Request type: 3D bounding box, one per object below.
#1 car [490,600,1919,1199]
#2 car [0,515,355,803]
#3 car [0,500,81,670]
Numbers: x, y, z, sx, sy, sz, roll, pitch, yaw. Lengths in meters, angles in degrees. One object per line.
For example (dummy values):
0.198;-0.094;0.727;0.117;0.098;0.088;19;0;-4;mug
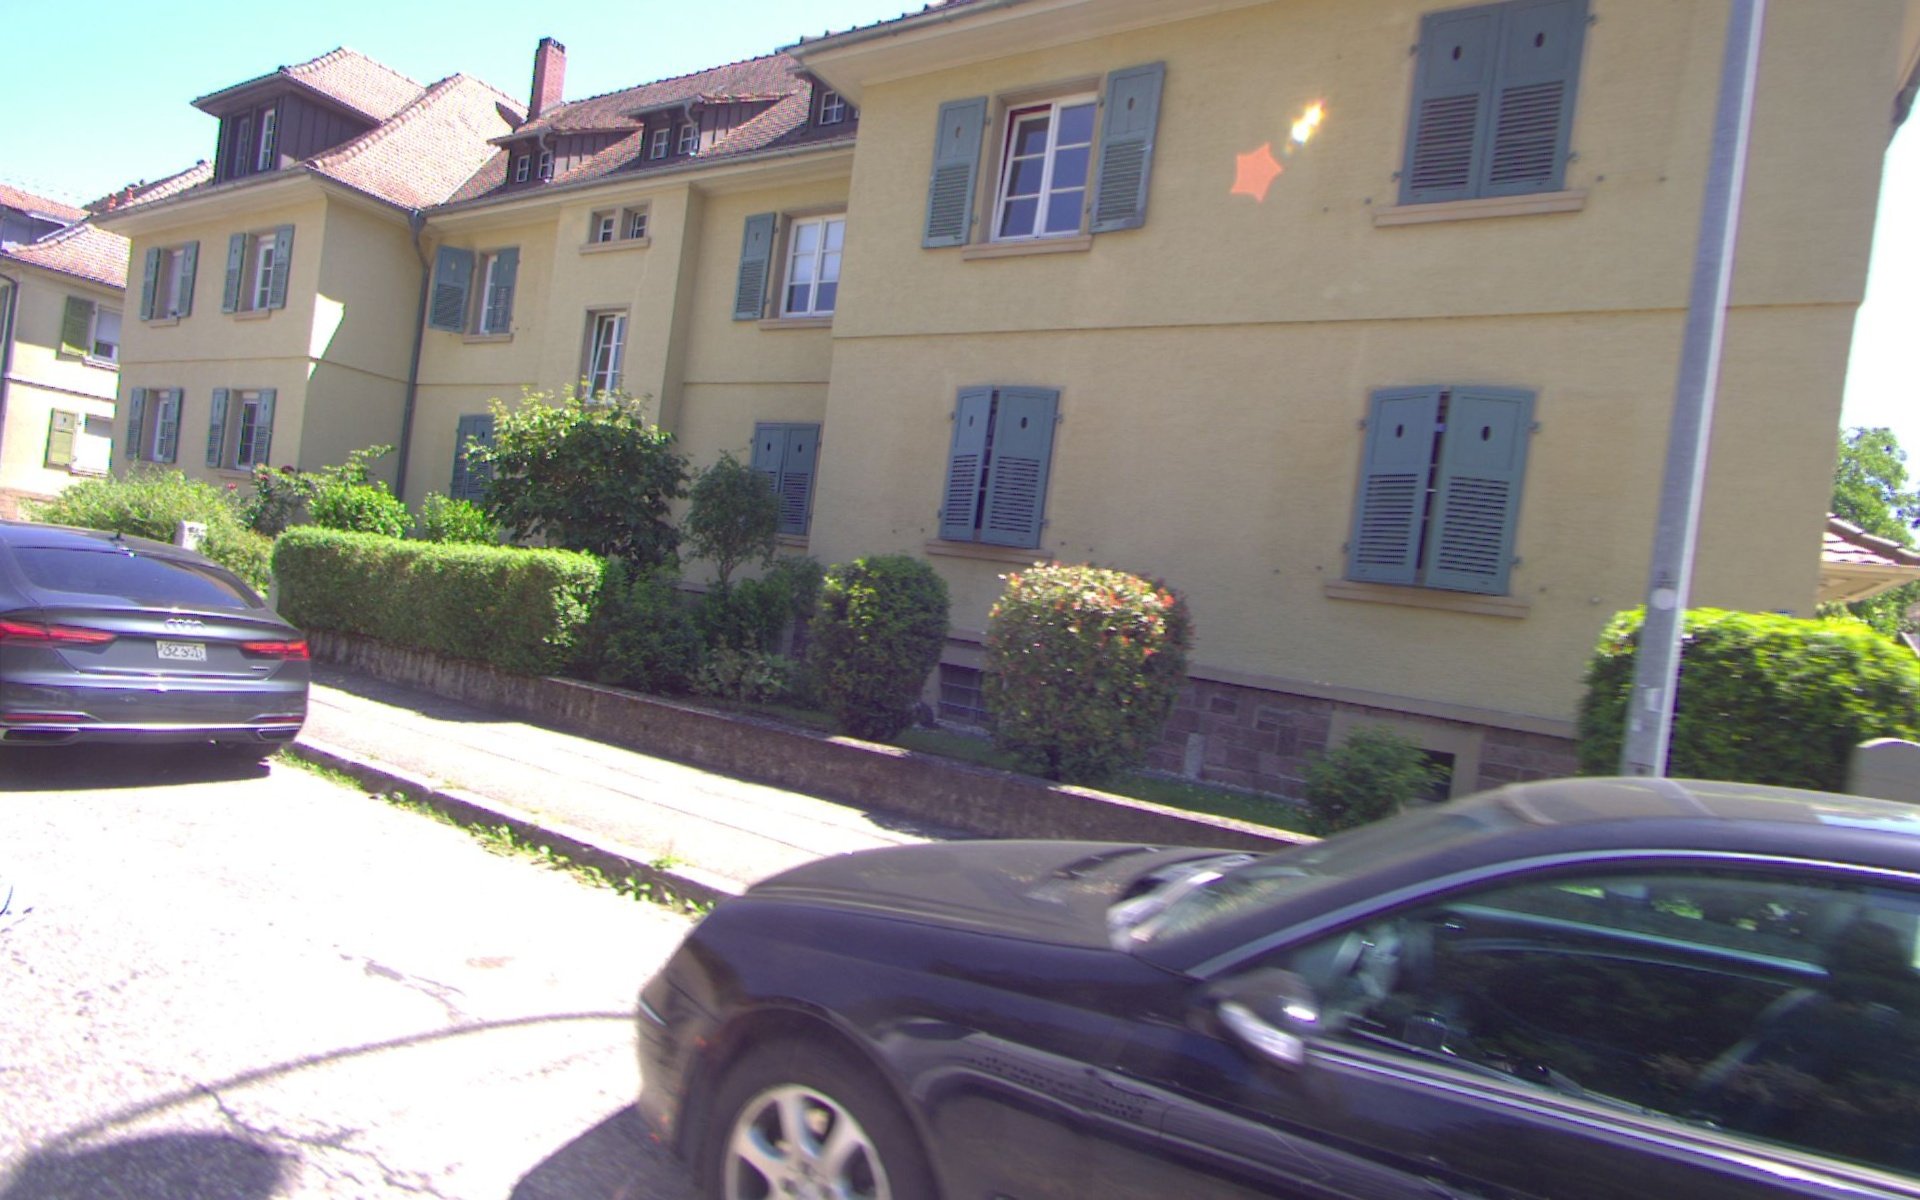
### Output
1.238;0.991;2.055;4.475;1.435;1.695;6;-1;32;car
-6.329;0.176;6.871;4.530;1.387;1.764;7;-1;31;car
-10.126;-0.346;9.415;3.587;1.468;1.764;7;-1;31;car
